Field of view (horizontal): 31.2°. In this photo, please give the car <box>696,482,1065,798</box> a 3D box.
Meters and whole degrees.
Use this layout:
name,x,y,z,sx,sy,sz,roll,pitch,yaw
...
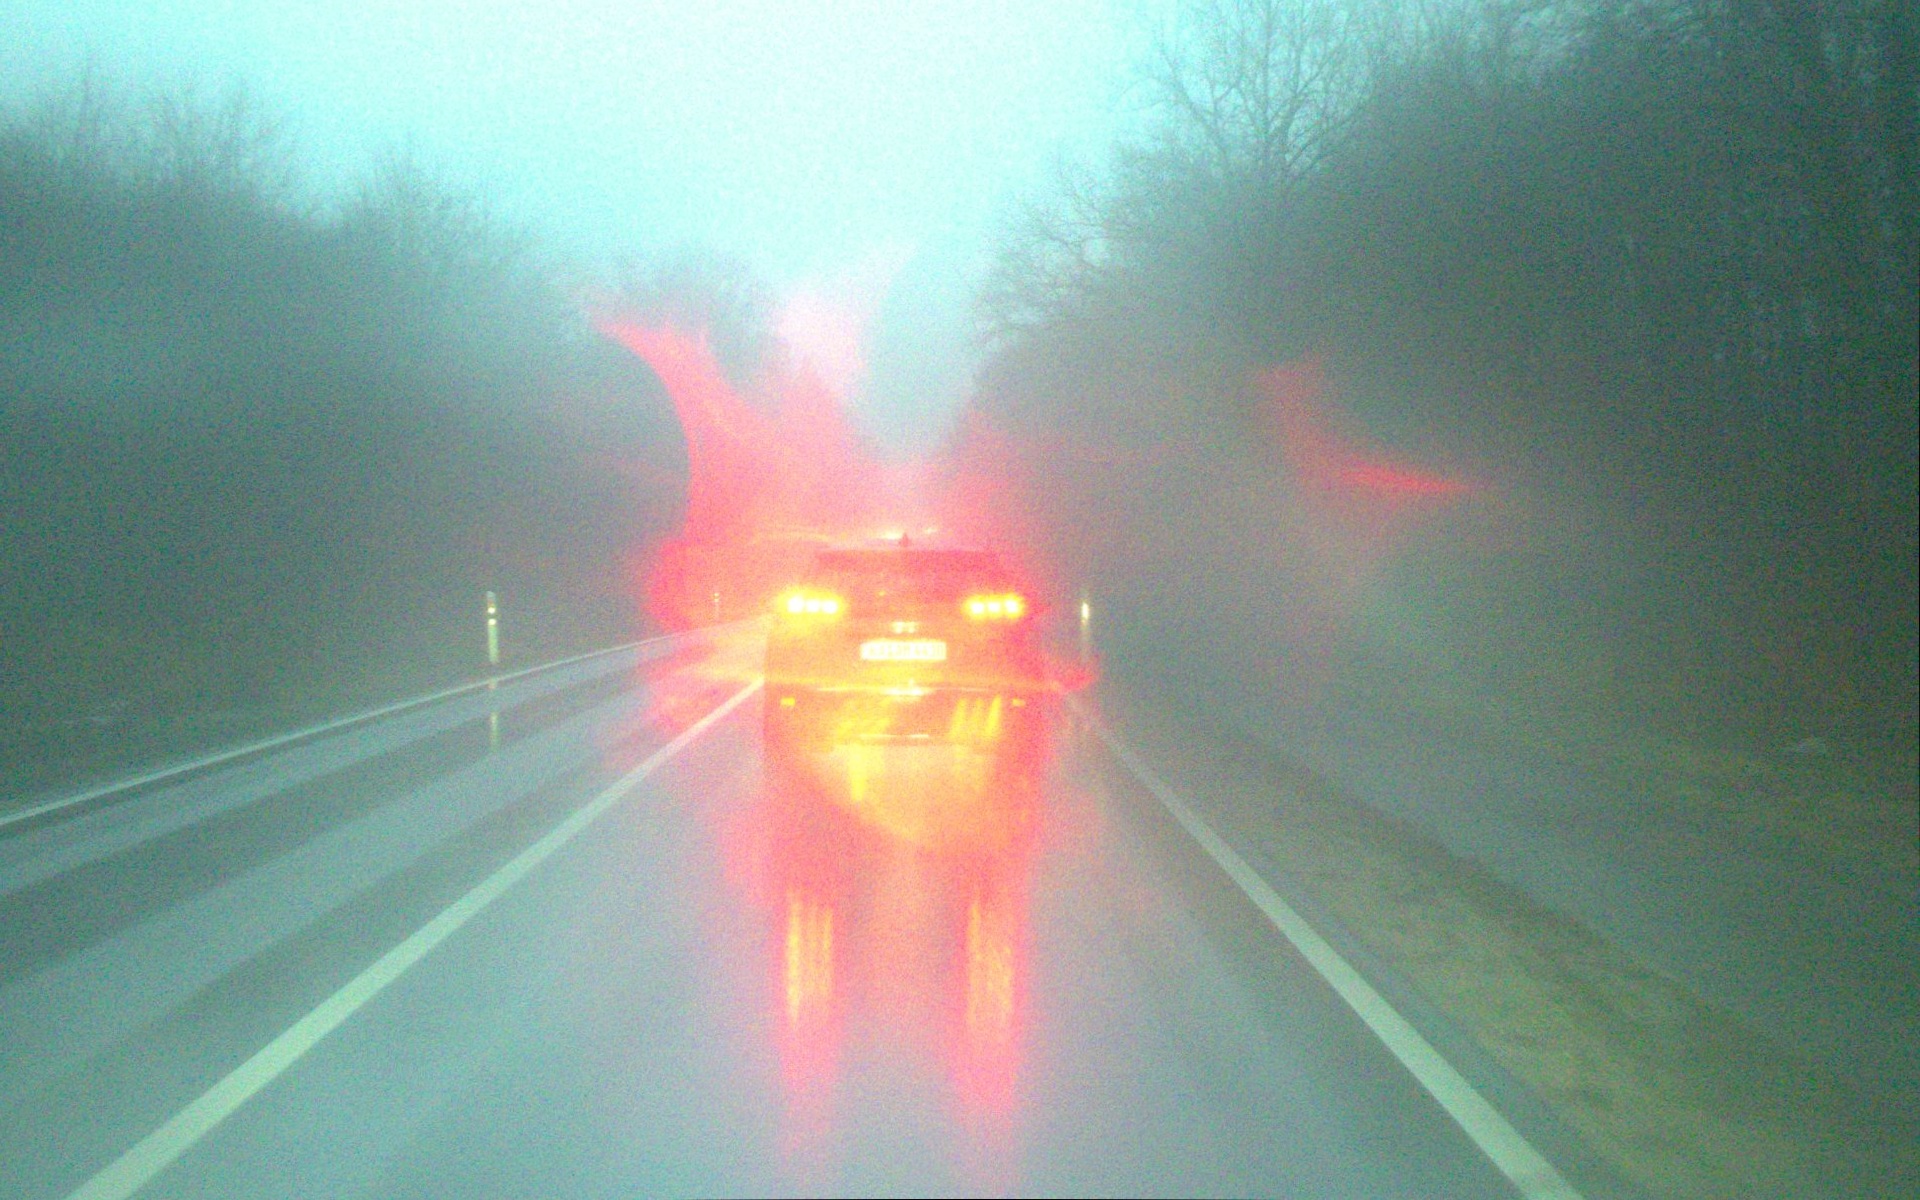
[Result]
name,x,y,z,sx,sy,sz,roll,pitch,yaw
car,-0.520,0.201,23.122,2.198,1.871,4.827,1,1,-1
